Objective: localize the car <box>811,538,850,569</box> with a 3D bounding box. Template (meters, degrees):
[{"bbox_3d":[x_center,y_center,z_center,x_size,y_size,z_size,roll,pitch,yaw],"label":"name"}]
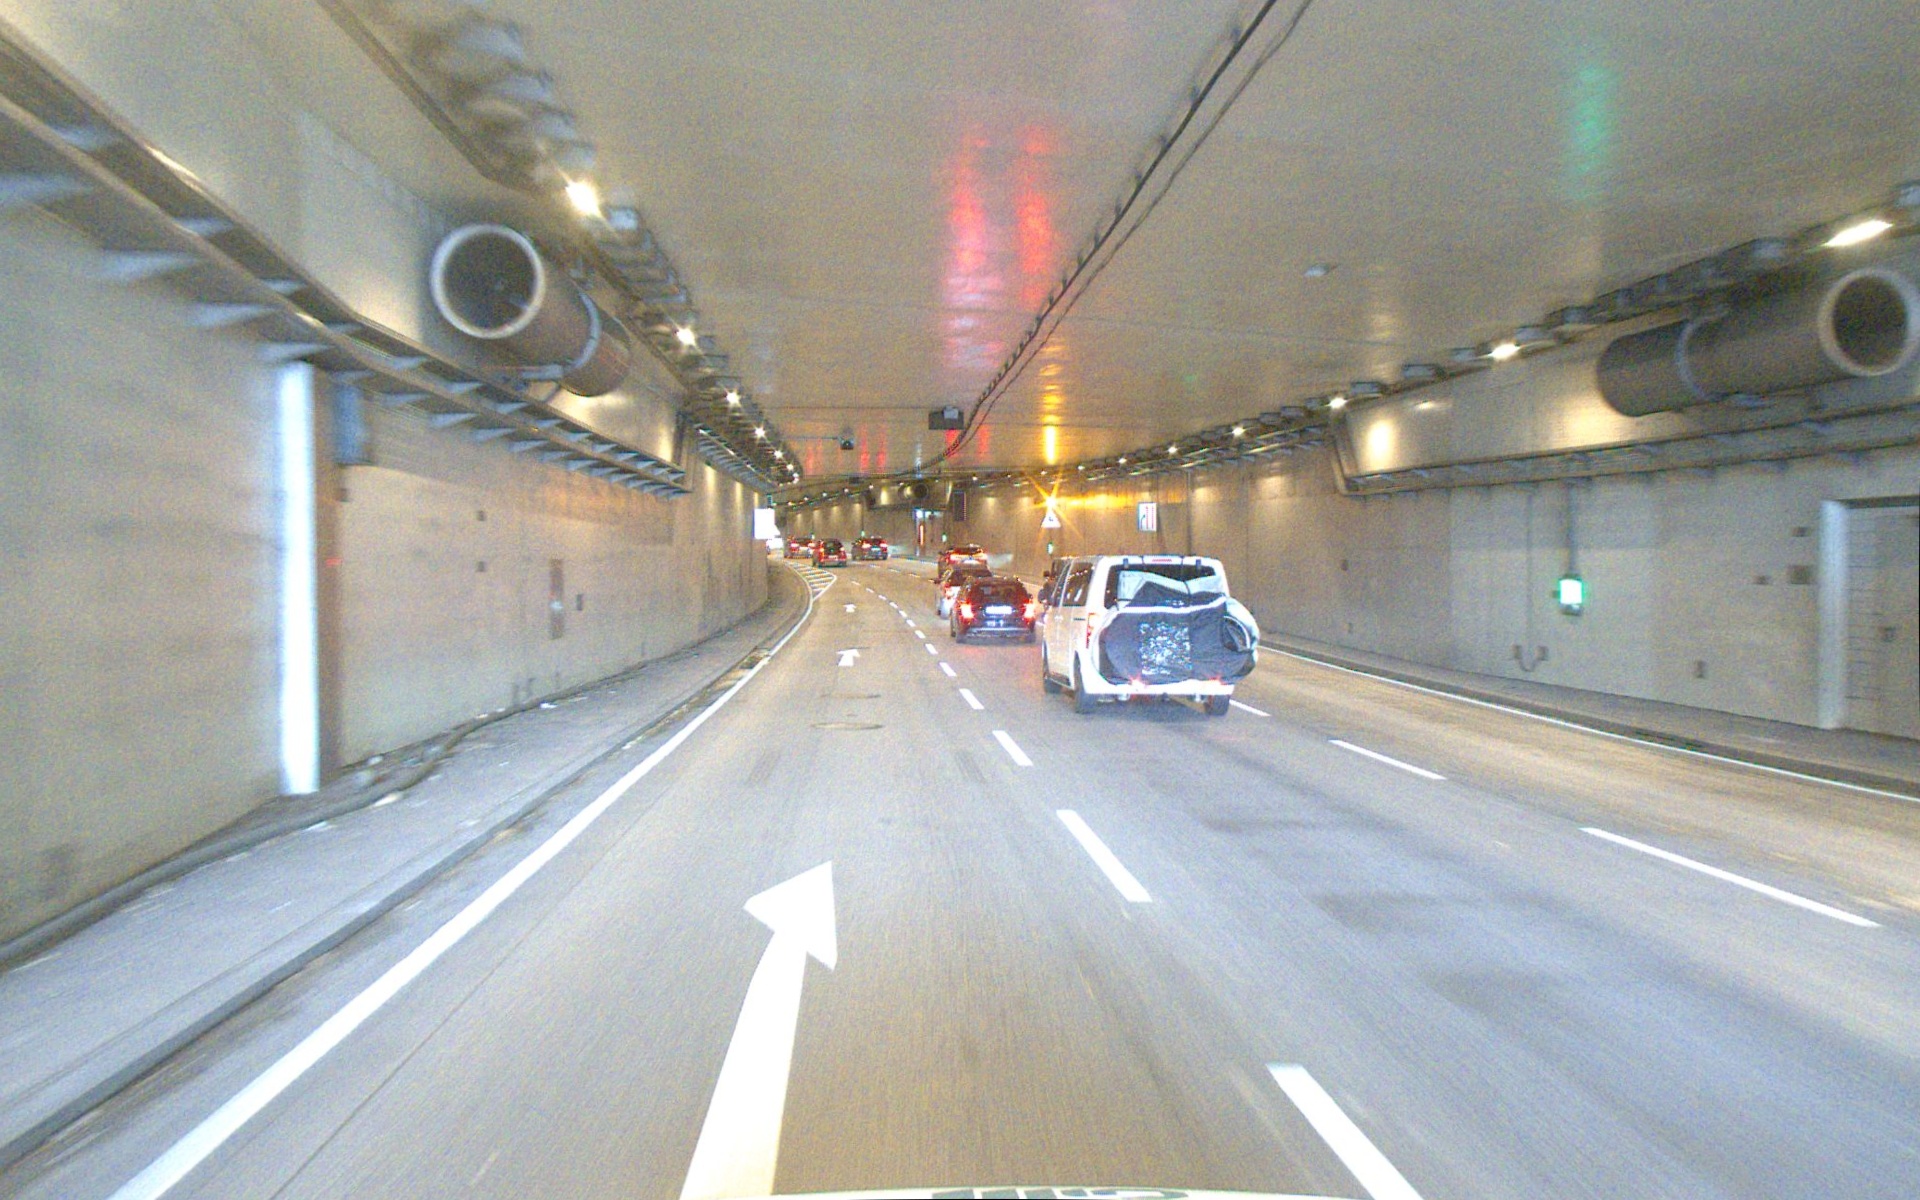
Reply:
[{"bbox_3d":[-7.454,-2.639,94.752,1.790,1.658,3.833,1,1,-11],"label":"car"}]

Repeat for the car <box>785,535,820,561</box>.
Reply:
[{"bbox_3d":[-10.626,-3.479,111.349,1.791,1.658,3.830,0,1,-14],"label":"car"}]

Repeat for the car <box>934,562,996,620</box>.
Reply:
[{"bbox_3d":[0.111,-0.292,48.831,1.571,1.621,3.353,1,1,-4],"label":"car"}]

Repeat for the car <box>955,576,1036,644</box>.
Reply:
[{"bbox_3d":[0.746,0.188,36.329,1.570,1.419,3.276,0,1,-2],"label":"car"}]

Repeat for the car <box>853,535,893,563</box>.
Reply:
[{"bbox_3d":[-5.463,-3.145,103.462,1.791,1.658,3.830,1,1,-13],"label":"car"}]

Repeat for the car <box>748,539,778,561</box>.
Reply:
[{"bbox_3d":[-15.942,-4.039,133.556,1.793,1.658,3.827,0,1,-16],"label":"car"}]

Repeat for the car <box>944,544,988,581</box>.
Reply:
[{"bbox_3d":[0.272,-1.729,76.779,1.573,1.658,3.349,1,1,-8],"label":"car"}]

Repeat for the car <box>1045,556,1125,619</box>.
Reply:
[{"bbox_3d":[3.709,-0.370,49.777,1.836,1.792,3.997,1,0,-4],"label":"car"}]

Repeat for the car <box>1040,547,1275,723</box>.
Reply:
[{"bbox_3d":[2.270,0.357,20.576,1.954,1.879,5.297,1,0,-4],"label":"car"}]
